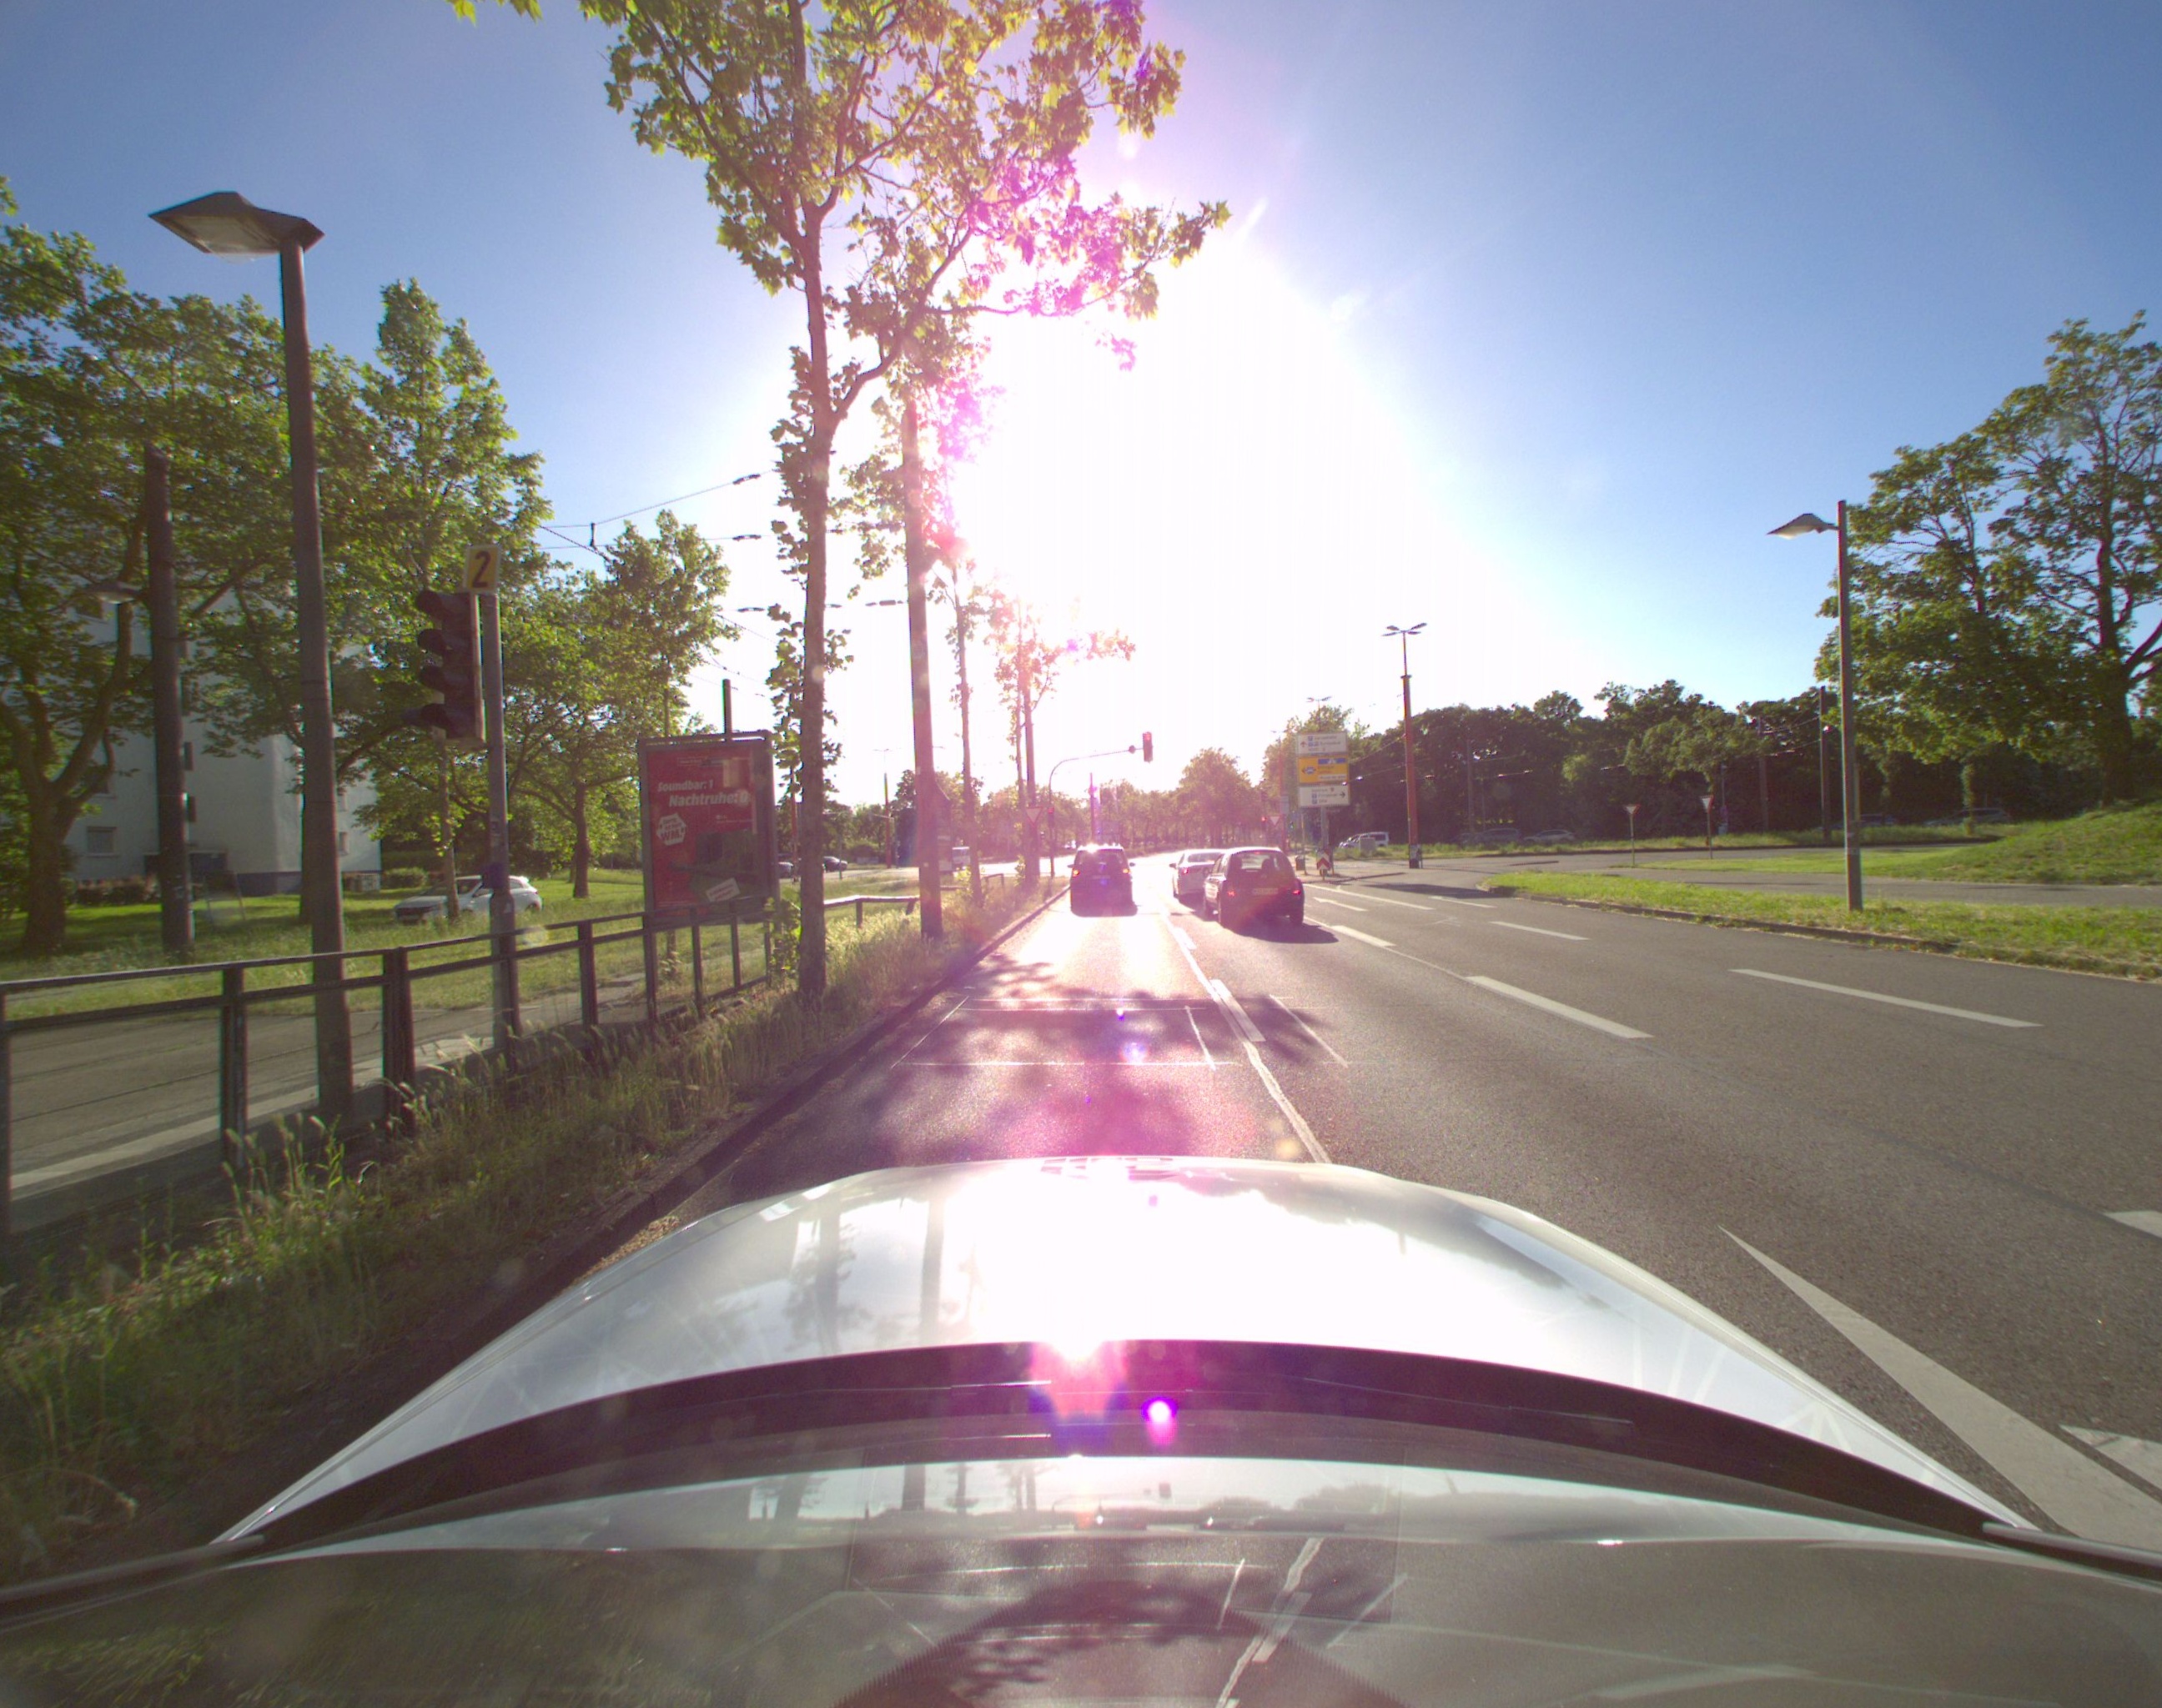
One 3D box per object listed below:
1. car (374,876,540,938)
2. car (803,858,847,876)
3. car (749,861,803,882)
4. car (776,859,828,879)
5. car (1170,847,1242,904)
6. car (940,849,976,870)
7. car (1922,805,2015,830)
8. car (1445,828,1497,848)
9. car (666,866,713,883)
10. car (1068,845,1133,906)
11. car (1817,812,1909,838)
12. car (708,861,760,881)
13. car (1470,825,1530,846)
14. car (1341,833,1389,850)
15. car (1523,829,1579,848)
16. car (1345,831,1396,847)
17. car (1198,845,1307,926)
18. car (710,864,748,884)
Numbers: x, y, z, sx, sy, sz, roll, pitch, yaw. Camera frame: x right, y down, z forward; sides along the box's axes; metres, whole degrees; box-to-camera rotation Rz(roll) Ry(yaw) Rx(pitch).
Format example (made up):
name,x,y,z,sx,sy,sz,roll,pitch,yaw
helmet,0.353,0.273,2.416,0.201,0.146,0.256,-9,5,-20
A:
name,x,y,z,sx,sy,sz,roll,pitch,yaw
car,-17.154,1.404,22.623,1.625,1.449,3.720,-1,0,2
car,-26.901,1.336,85.692,3.953,1.620,1.910,-2,3,21
car,-28.248,1.631,75.460,4.447,1.610,1.910,-3,2,21
car,-27.030,1.473,78.868,4.447,1.610,1.910,-3,2,21
car,3.563,0.568,23.773,1.671,1.475,4.134,-1,0,3
car,-11.184,0.489,74.188,1.812,1.780,4.580,-1,0,10
car,61.415,-2.510,56.434,3.949,1.528,1.871,-1,0,29
car,34.051,-1.388,71.067,3.949,1.561,1.911,-1,0,28
car,-39.267,2.061,81.723,4.000,1.436,1.825,-3,2,21
car,0.572,0.564,23.371,1.704,1.603,3.351,-1,0,1
car,54.156,-1.979,56.522,4.220,1.627,1.941,-1,0,29
car,-33.586,1.677,78.804,4.447,1.610,1.910,-3,2,21
car,34.496,-1.503,67.078,4.310,1.559,1.883,-1,0,27
car,26.245,-1.140,75.308,3.949,1.476,1.800,-1,0,27
car,39.123,-1.282,67.936,3.949,1.495,1.872,-1,0,29
car,25.589,-1.296,72.023,3.949,1.338,1.739,-1,0,28
car,3.525,0.581,17.260,1.633,1.494,3.504,-1,1,1
car,-29.474,1.660,68.119,1.908,1.543,4.450,-1,0,-36
